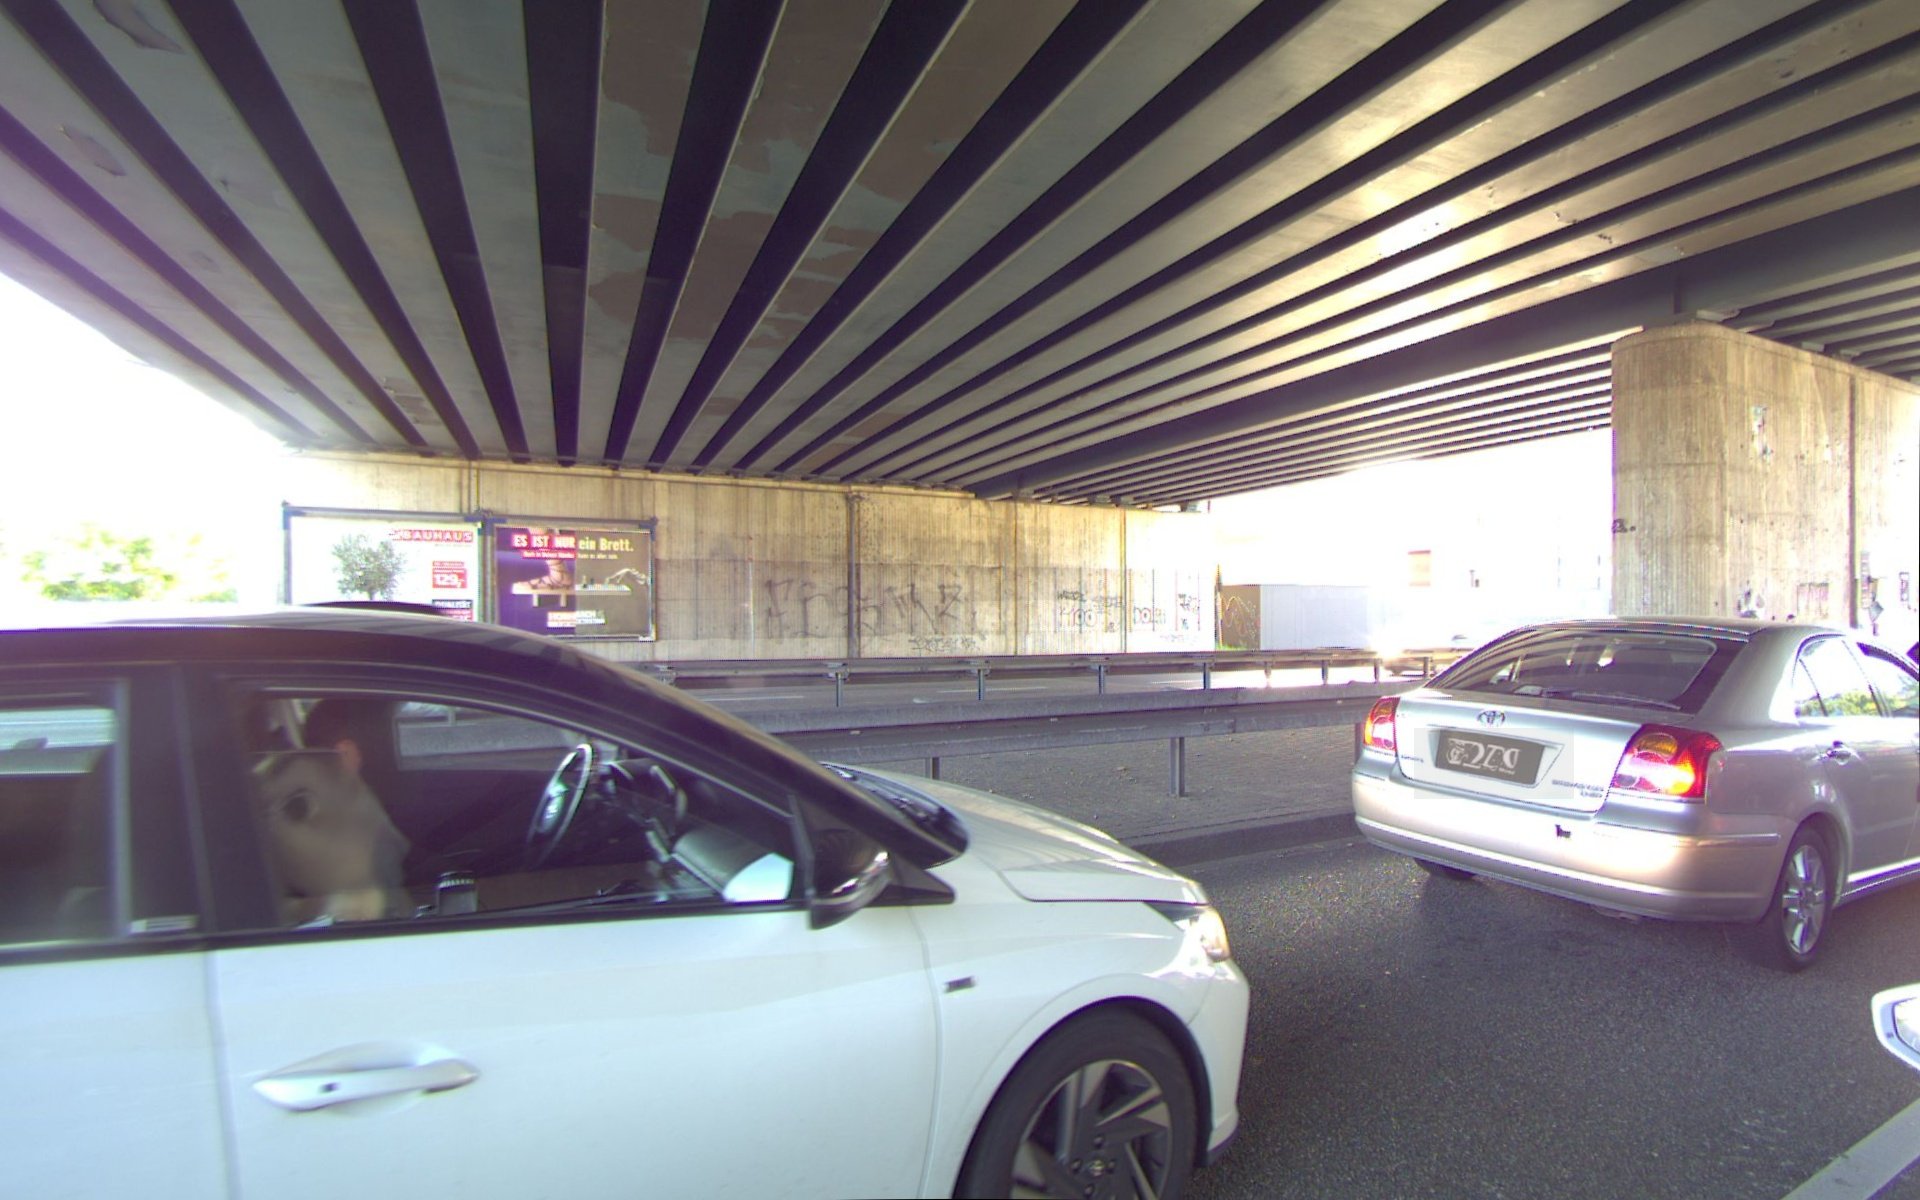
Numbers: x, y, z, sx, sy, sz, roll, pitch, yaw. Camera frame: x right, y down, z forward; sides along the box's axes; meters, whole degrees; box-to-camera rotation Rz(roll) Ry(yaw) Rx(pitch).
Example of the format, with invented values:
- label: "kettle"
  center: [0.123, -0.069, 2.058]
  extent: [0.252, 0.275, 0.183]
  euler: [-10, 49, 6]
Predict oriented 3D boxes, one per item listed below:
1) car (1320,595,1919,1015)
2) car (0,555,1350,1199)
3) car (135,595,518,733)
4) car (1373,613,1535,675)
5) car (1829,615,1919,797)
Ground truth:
- label: "car"
  center: [4.077, 0.779, 5.459]
  extent: [4.270, 1.499, 1.724]
  euler: [1, -1, -32]
- label: "car"
  center: [-1.160, 0.705, 2.137]
  extent: [3.947, 1.499, 1.723]
  euler: [1, 0, -32]
- label: "car"
  center: [-8.345, 0.771, 13.611]
  extent: [4.135, 1.609, 1.815]
  euler: [0, -1, -32]
- label: "car"
  center: [13.016, 1.125, 26.504]
  extent: [3.763, 1.540, 1.618]
  euler: [0, -1, -17]
- label: "car"
  center: [9.543, 0.881, 8.854]
  extent: [3.688, 1.457, 1.804]
  euler: [0, 0, -31]
